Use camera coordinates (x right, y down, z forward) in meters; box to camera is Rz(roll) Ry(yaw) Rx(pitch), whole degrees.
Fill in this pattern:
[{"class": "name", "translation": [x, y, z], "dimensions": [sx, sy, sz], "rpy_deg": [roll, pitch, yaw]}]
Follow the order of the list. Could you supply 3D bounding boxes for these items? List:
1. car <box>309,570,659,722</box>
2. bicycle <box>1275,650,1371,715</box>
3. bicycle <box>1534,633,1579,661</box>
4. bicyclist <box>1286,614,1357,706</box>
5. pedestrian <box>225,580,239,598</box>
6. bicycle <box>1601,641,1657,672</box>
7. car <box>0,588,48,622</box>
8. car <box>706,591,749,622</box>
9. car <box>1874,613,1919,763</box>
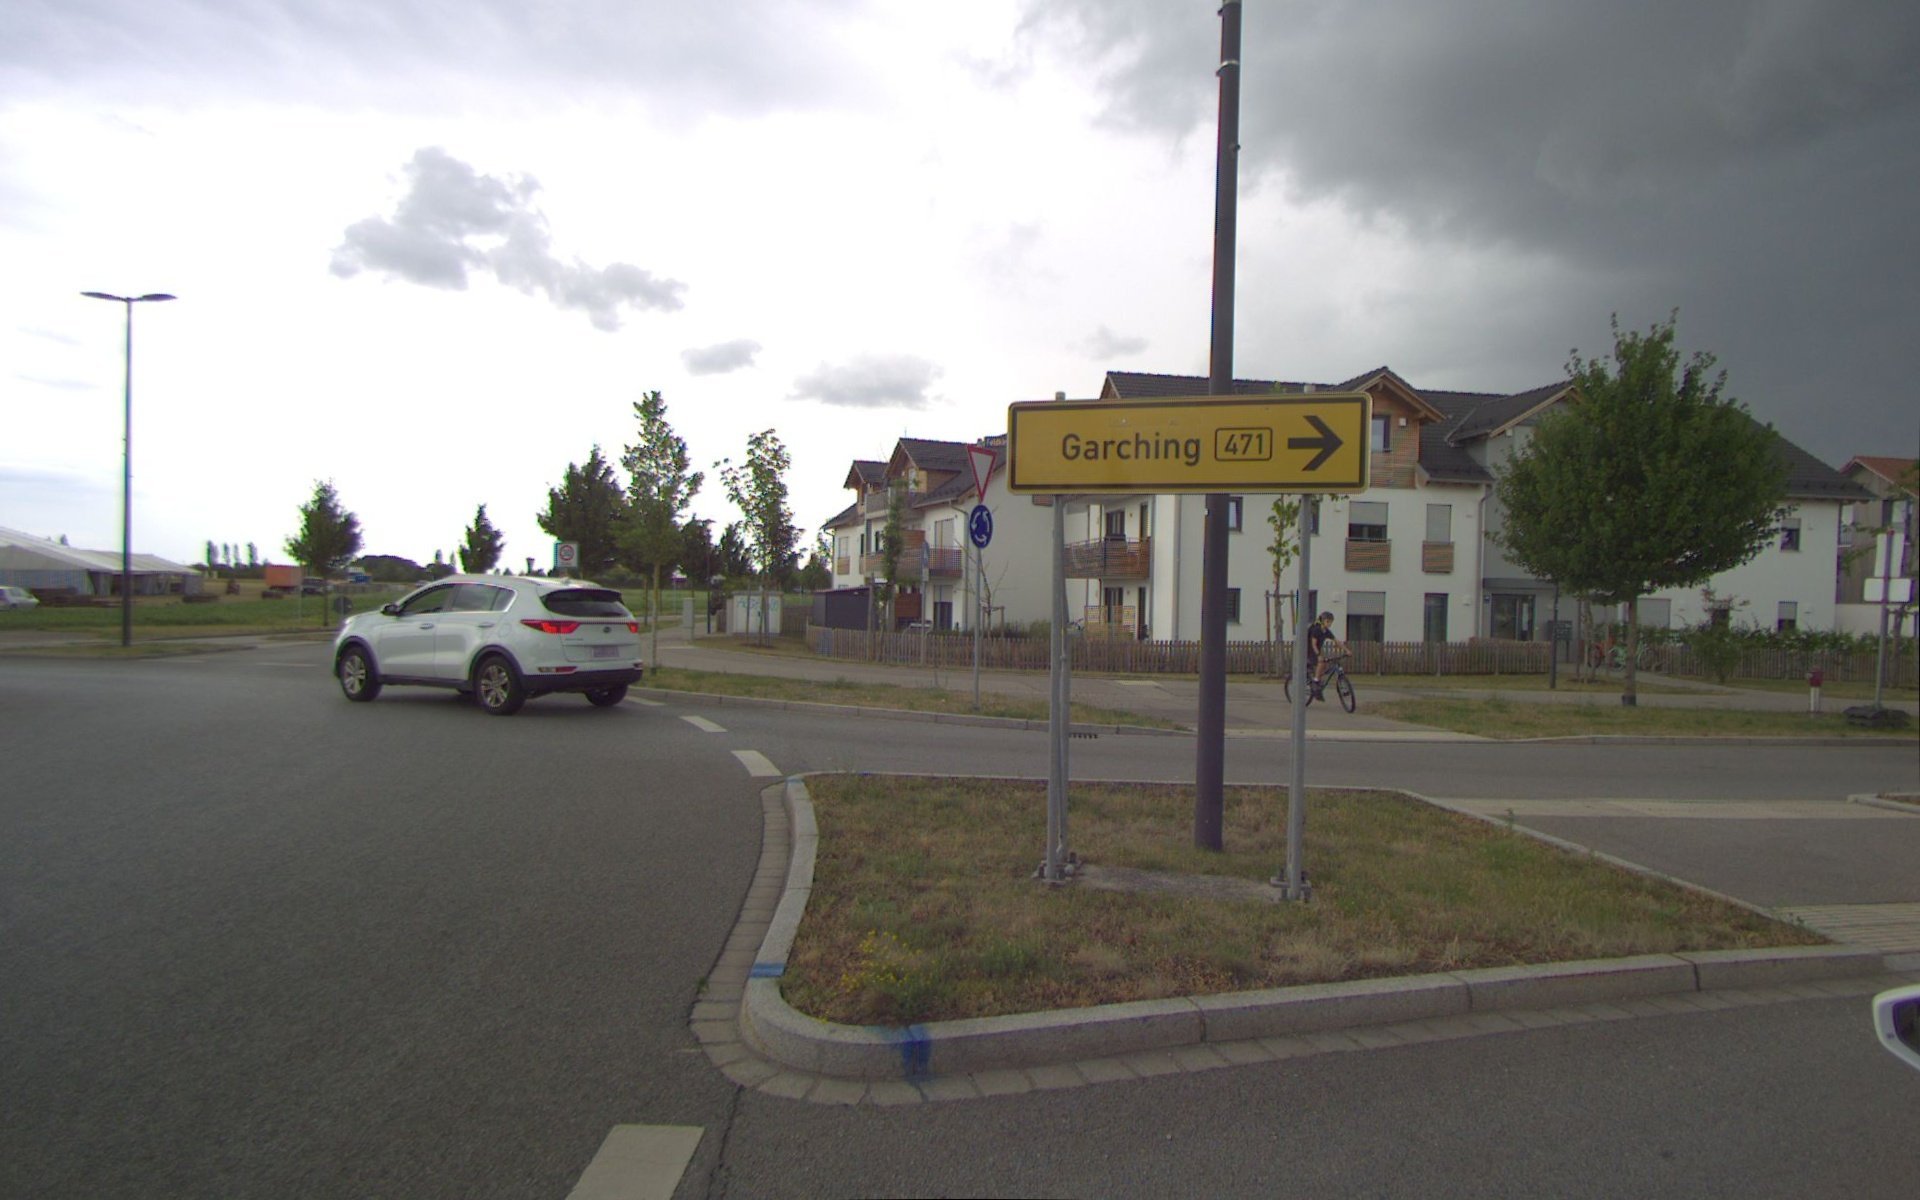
[{"class": "car", "translation": [-6.187, 0.505, 12.987], "dimensions": [4.367, 1.647, 1.712], "rpy_deg": [2, 0, 26]}, {"class": "bicycle", "translation": [5.964, 1.341, 16.594], "dimensions": [0.490, 0.959, 1.705], "rpy_deg": [1, -1, -21]}, {"class": "bicycle", "translation": [19.869, 1.570, 33.446], "dimensions": [1.313, 0.854, 0.368], "rpy_deg": [2, 3, -8]}, {"class": "bicyclist", "translation": [5.972, 0.967, 16.614], "dimensions": [0.714, 1.466, 0.864], "rpy_deg": [1, -1, -23]}, {"class": "pedestrian", "translation": [-82.045, -1.215, 113.195], "dimensions": [1.036, 2.041, 1.055], "rpy_deg": [1, 1, -21]}, {"class": "bicycle", "translation": [20.488, 1.731, 30.746], "dimensions": [1.518, 0.854, 0.368], "rpy_deg": [2, 3, -8]}, {"class": "car", "translation": [-46.774, 0.236, 49.600], "dimensions": [1.711, 1.574, 3.969], "rpy_deg": [1, 0, -29]}, {"class": "car", "translation": [-18.462, 0.462, 79.938], "dimensions": [1.960, 2.284, 4.572], "rpy_deg": [2, 2, 4]}, {"class": "car", "translation": [13.360, 1.065, 11.400], "dimensions": [4.550, 1.726, 1.997], "rpy_deg": [1, 0, -9]}]
